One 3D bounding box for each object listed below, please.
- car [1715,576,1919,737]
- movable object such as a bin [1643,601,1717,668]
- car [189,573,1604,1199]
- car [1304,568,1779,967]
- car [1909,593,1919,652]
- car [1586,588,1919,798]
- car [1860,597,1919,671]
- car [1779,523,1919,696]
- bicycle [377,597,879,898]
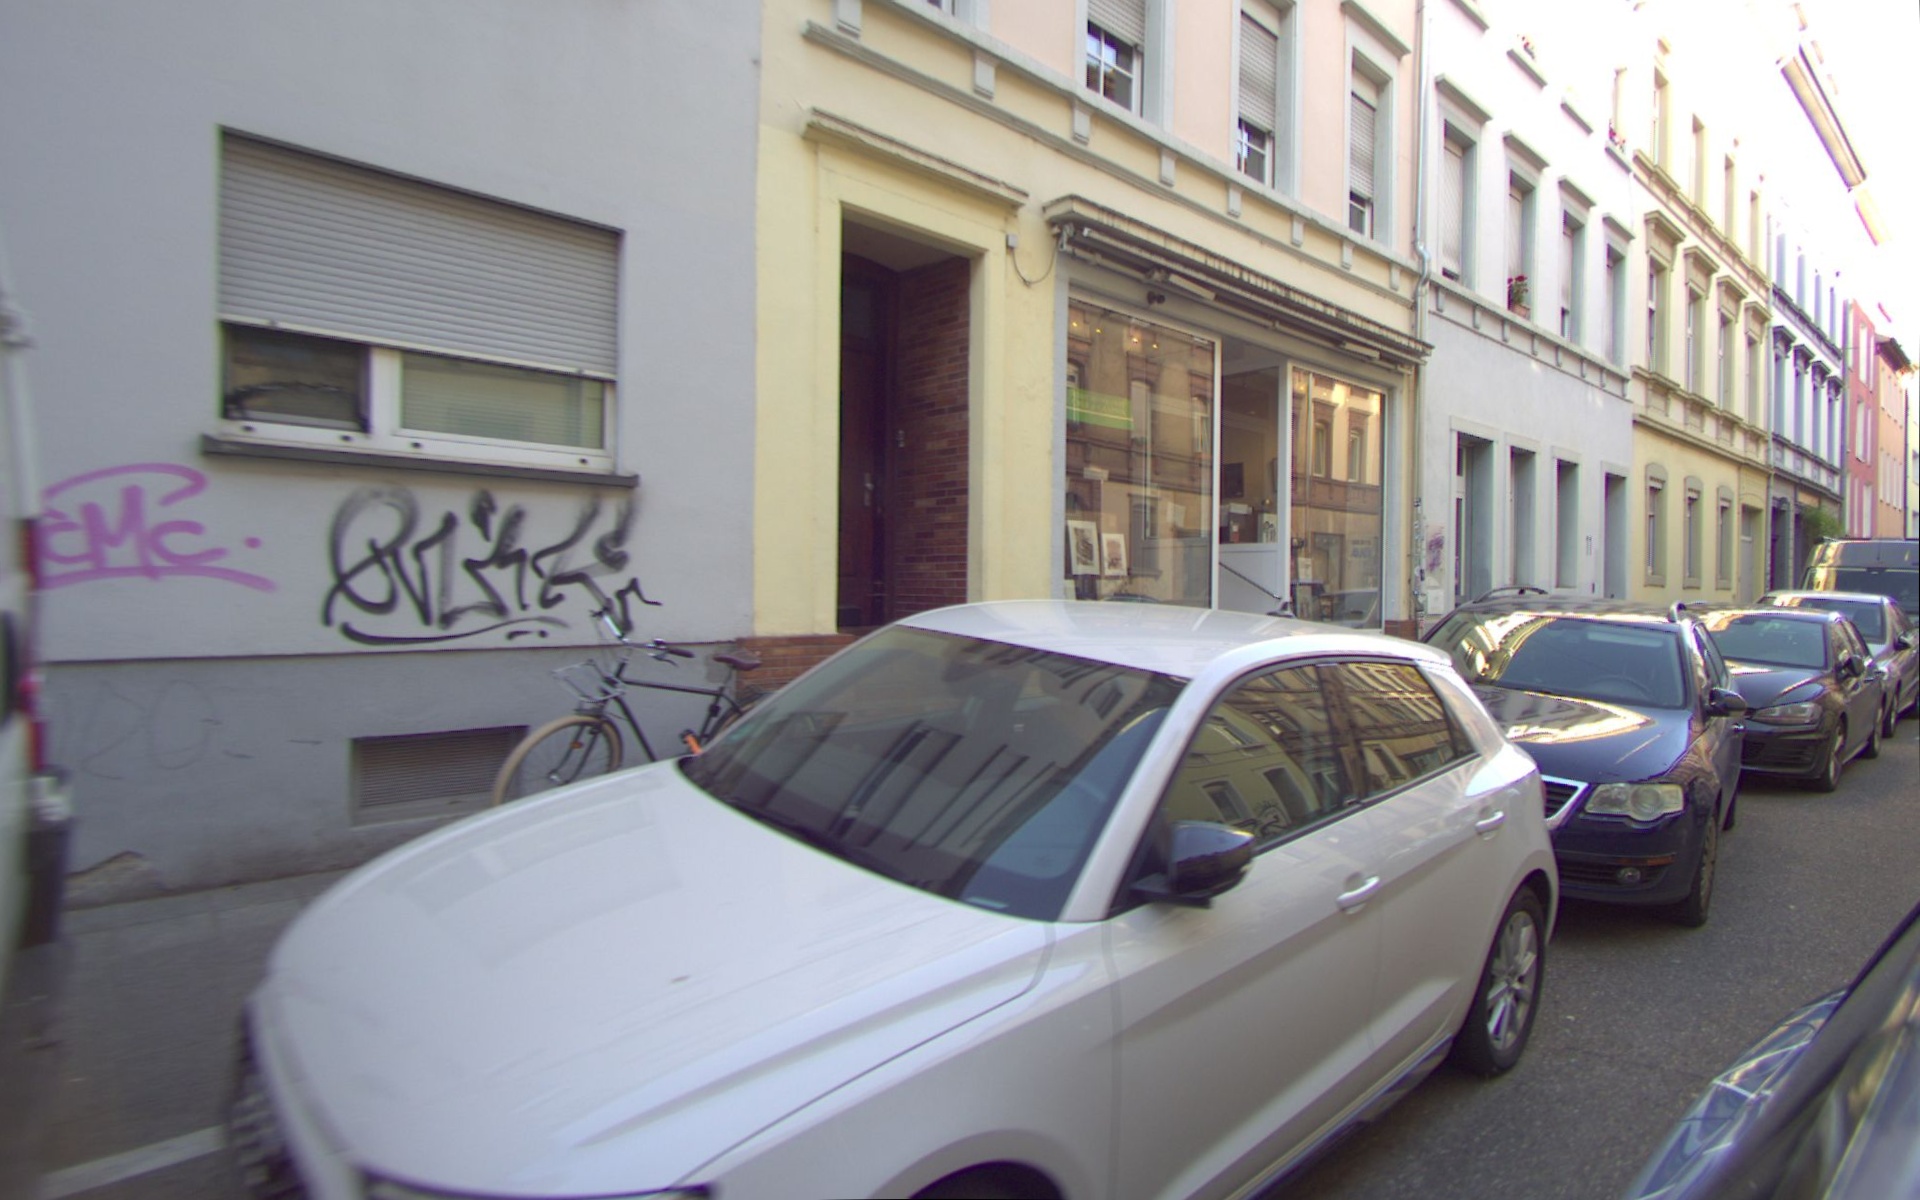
[{"bbox_3d":[11.074,0.577,12.700,4.299,1.627,1.697,0,3,-42],"label":"car"},{"bbox_3d":[12.440,0.572,17.483,0.696,1.055,0.864,0,4,-43],"label":"movable object such as a bin"},{"bbox_3d":[0.264,0.685,2.871,3.767,1.447,1.727,0,1,-43],"label":"car"},{"bbox_3d":[3.929,0.655,6.379,1.809,1.496,4.543,5,3,39],"label":"car"},{"bbox_3d":[26.533,0.623,26.686,4.469,1.472,1.790,0,4,-42],"label":"car"},{"bbox_3d":[7.539,0.670,9.464,4.170,1.504,1.749,0,1,-42],"label":"car"},{"bbox_3d":[20.527,0.679,21.412,4.099,1.462,1.750,0,1,-41],"label":"car"},{"bbox_3d":[15.706,0.110,16.876,6.201,2.455,2.179,0,2,-42],"label":"car"},{"bbox_3d":[-1.543,0.597,5.081,2.311,1.172,0.629,0,4,-41],"label":"bicycle"}]
